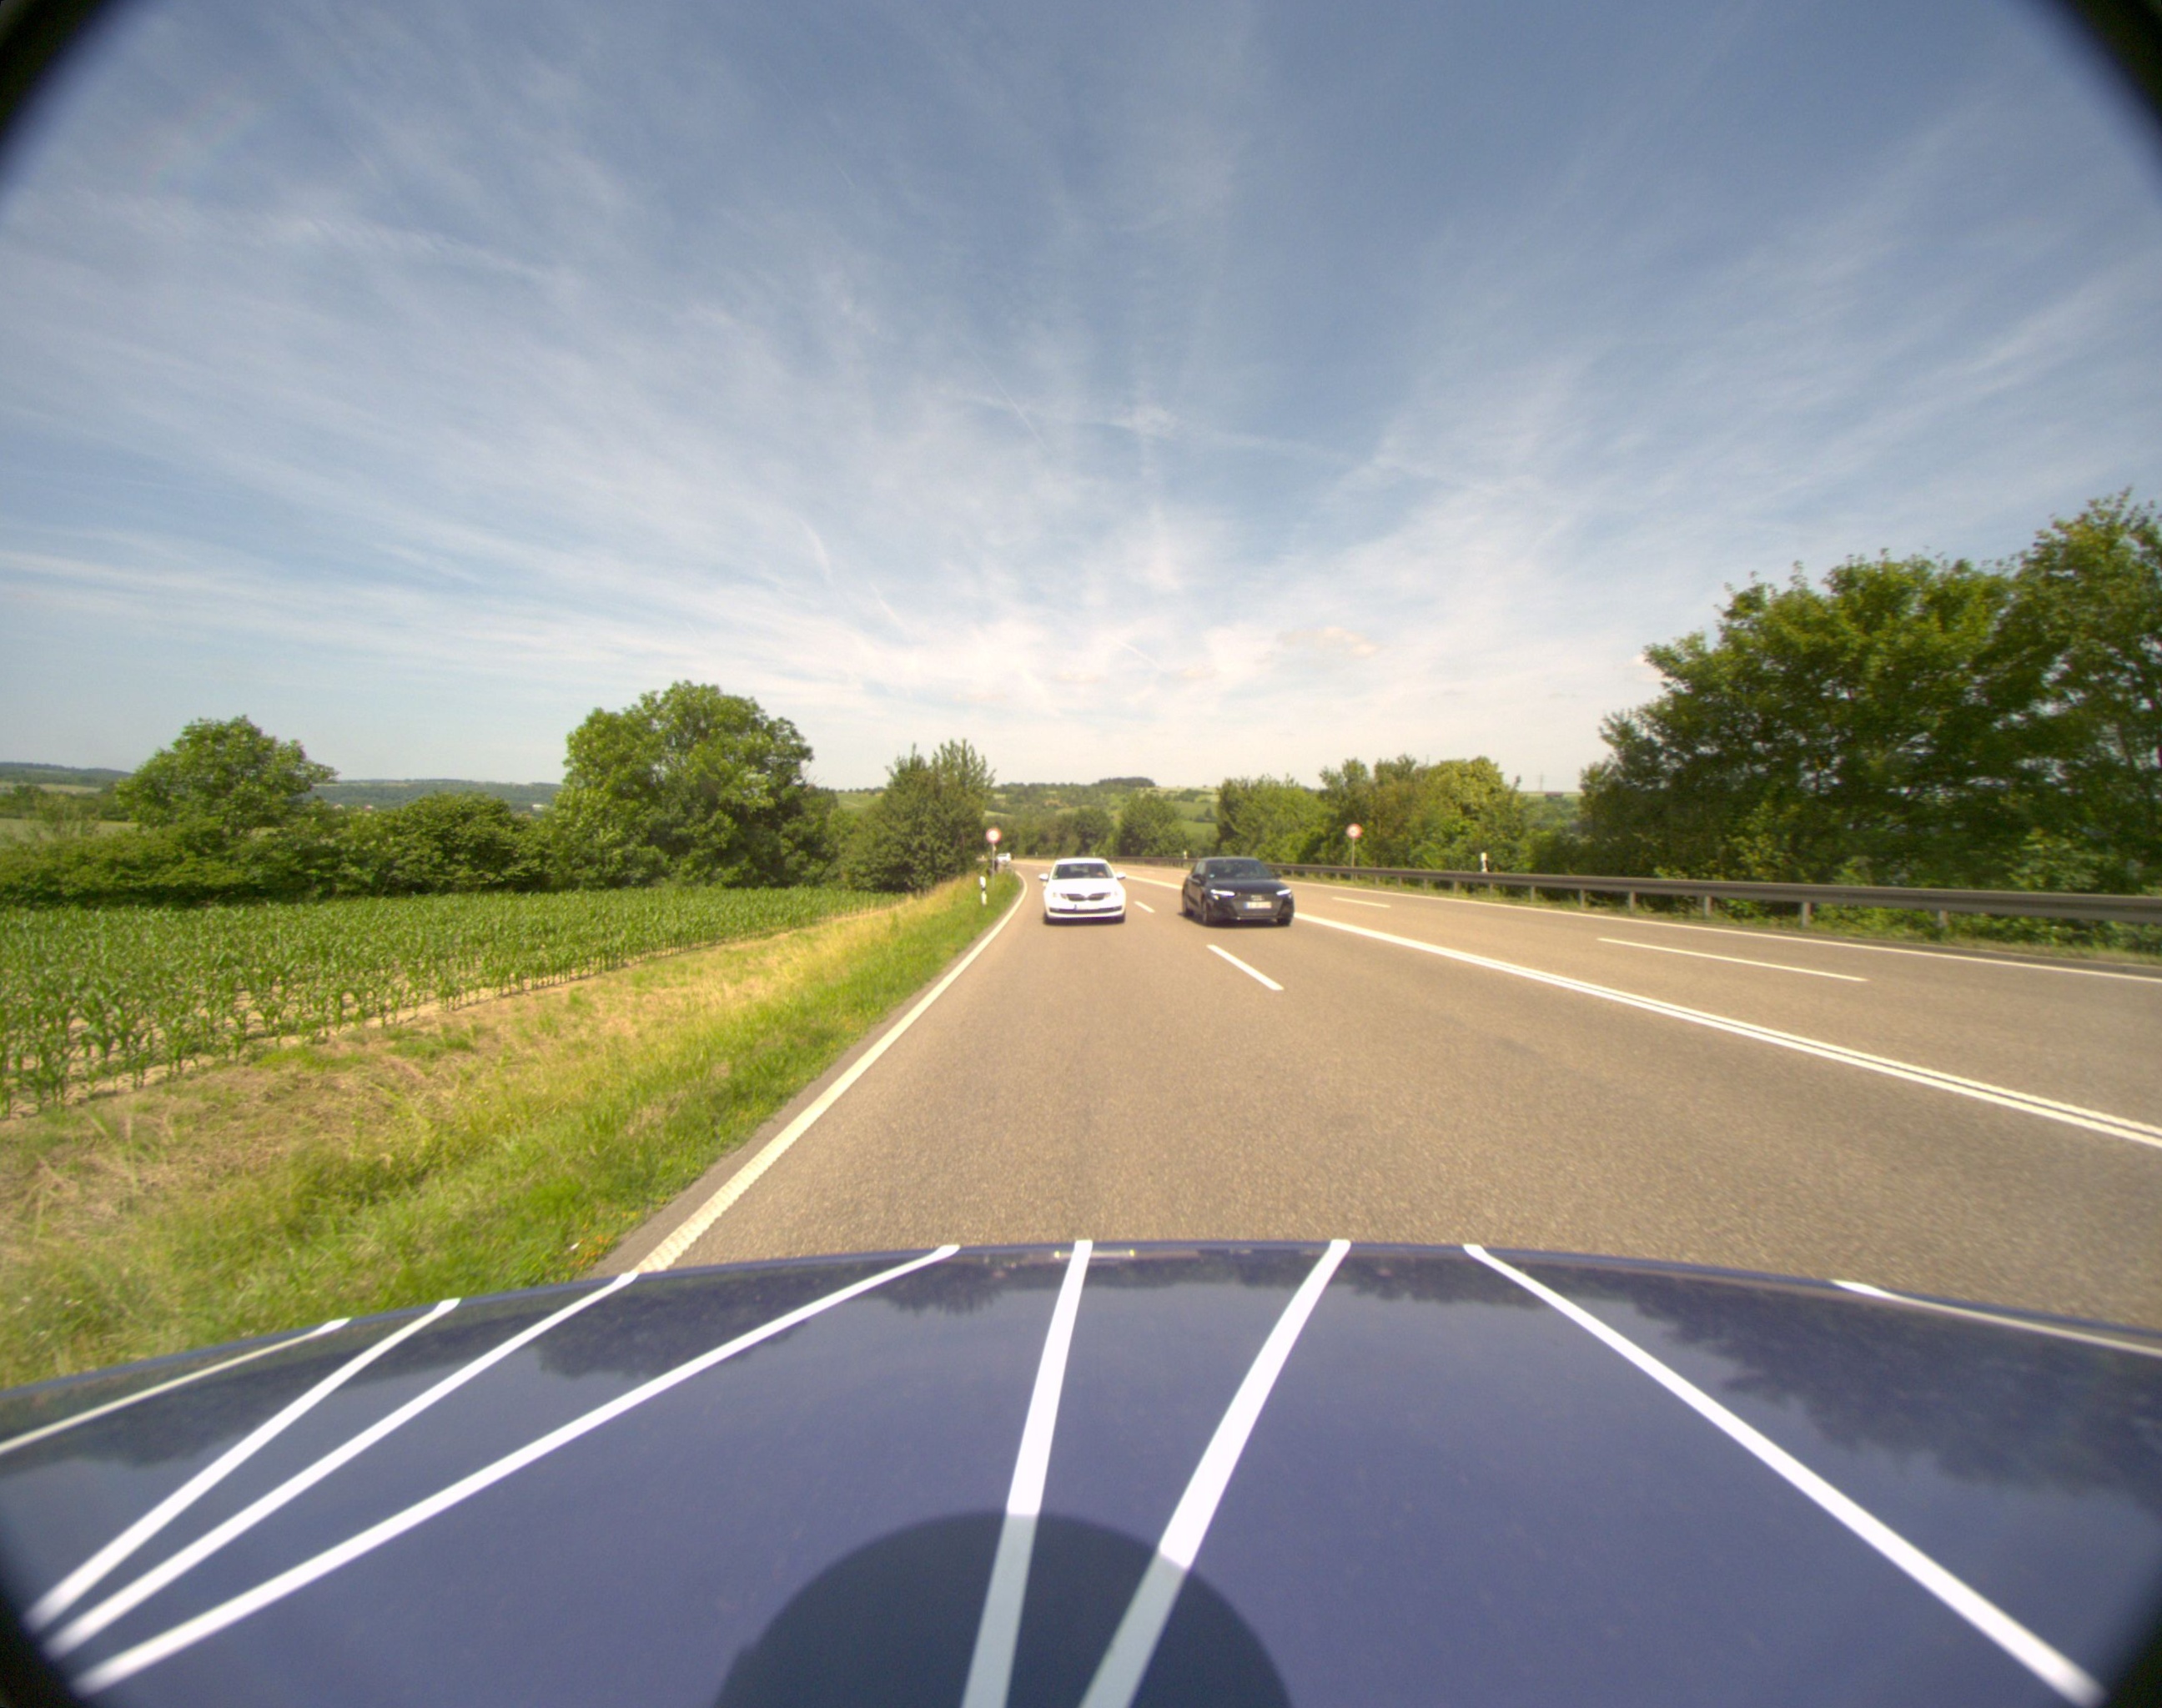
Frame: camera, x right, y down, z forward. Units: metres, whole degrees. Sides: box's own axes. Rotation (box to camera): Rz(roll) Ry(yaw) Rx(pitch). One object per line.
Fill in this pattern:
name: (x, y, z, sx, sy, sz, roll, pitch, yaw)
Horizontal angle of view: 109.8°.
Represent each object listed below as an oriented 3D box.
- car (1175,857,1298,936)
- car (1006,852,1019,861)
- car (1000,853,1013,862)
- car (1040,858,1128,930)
car: (3.321, 0.829, 17.154, 1.709, 1.464, 4.810, -1, 0, -1)
car: (-13.706, 0.442, 151.794, 1.796, 1.797, 3.994, -2, 1, -15)
car: (-12.211, 0.511, 123.774, 1.709, 1.368, 4.598, -1, 0, -11)
car: (-0.017, 0.866, 18.450, 1.826, 1.463, 4.787, -1, 0, -2)
